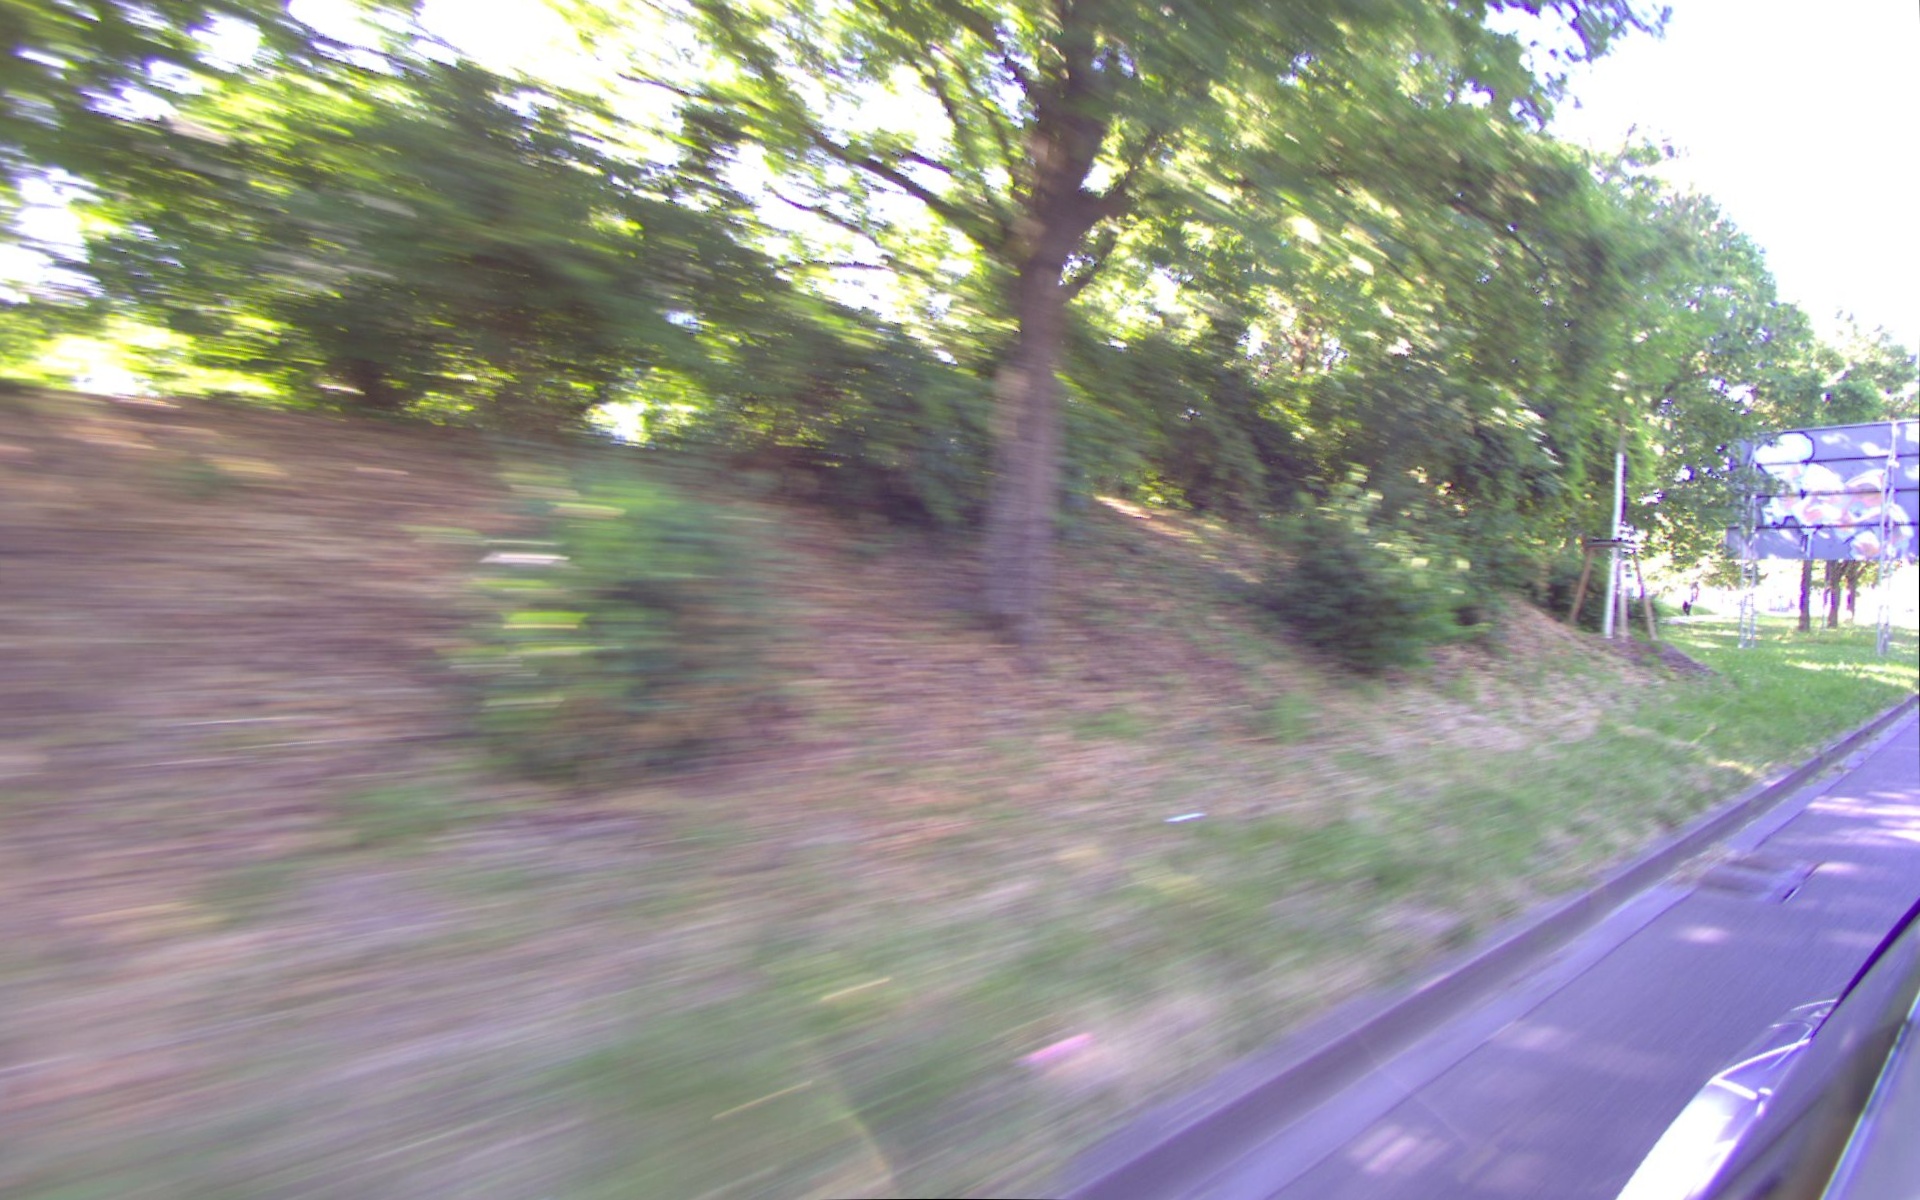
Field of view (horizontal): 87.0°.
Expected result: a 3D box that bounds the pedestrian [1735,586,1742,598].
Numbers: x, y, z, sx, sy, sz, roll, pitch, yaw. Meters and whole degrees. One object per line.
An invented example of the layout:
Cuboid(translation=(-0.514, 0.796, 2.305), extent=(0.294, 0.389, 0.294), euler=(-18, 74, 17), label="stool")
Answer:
Cuboid(translation=(116.651, -1.189, 151.669), extent=(0.727, 1.718, 0.727), euler=(1, 0, 32), label="pedestrian")

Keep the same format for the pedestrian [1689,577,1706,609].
Cuboid(translation=(42.601, -0.398, 58.446), extent=(0.715, 1.826, 0.782), euler=(1, 1, 43), label="pedestrian")
